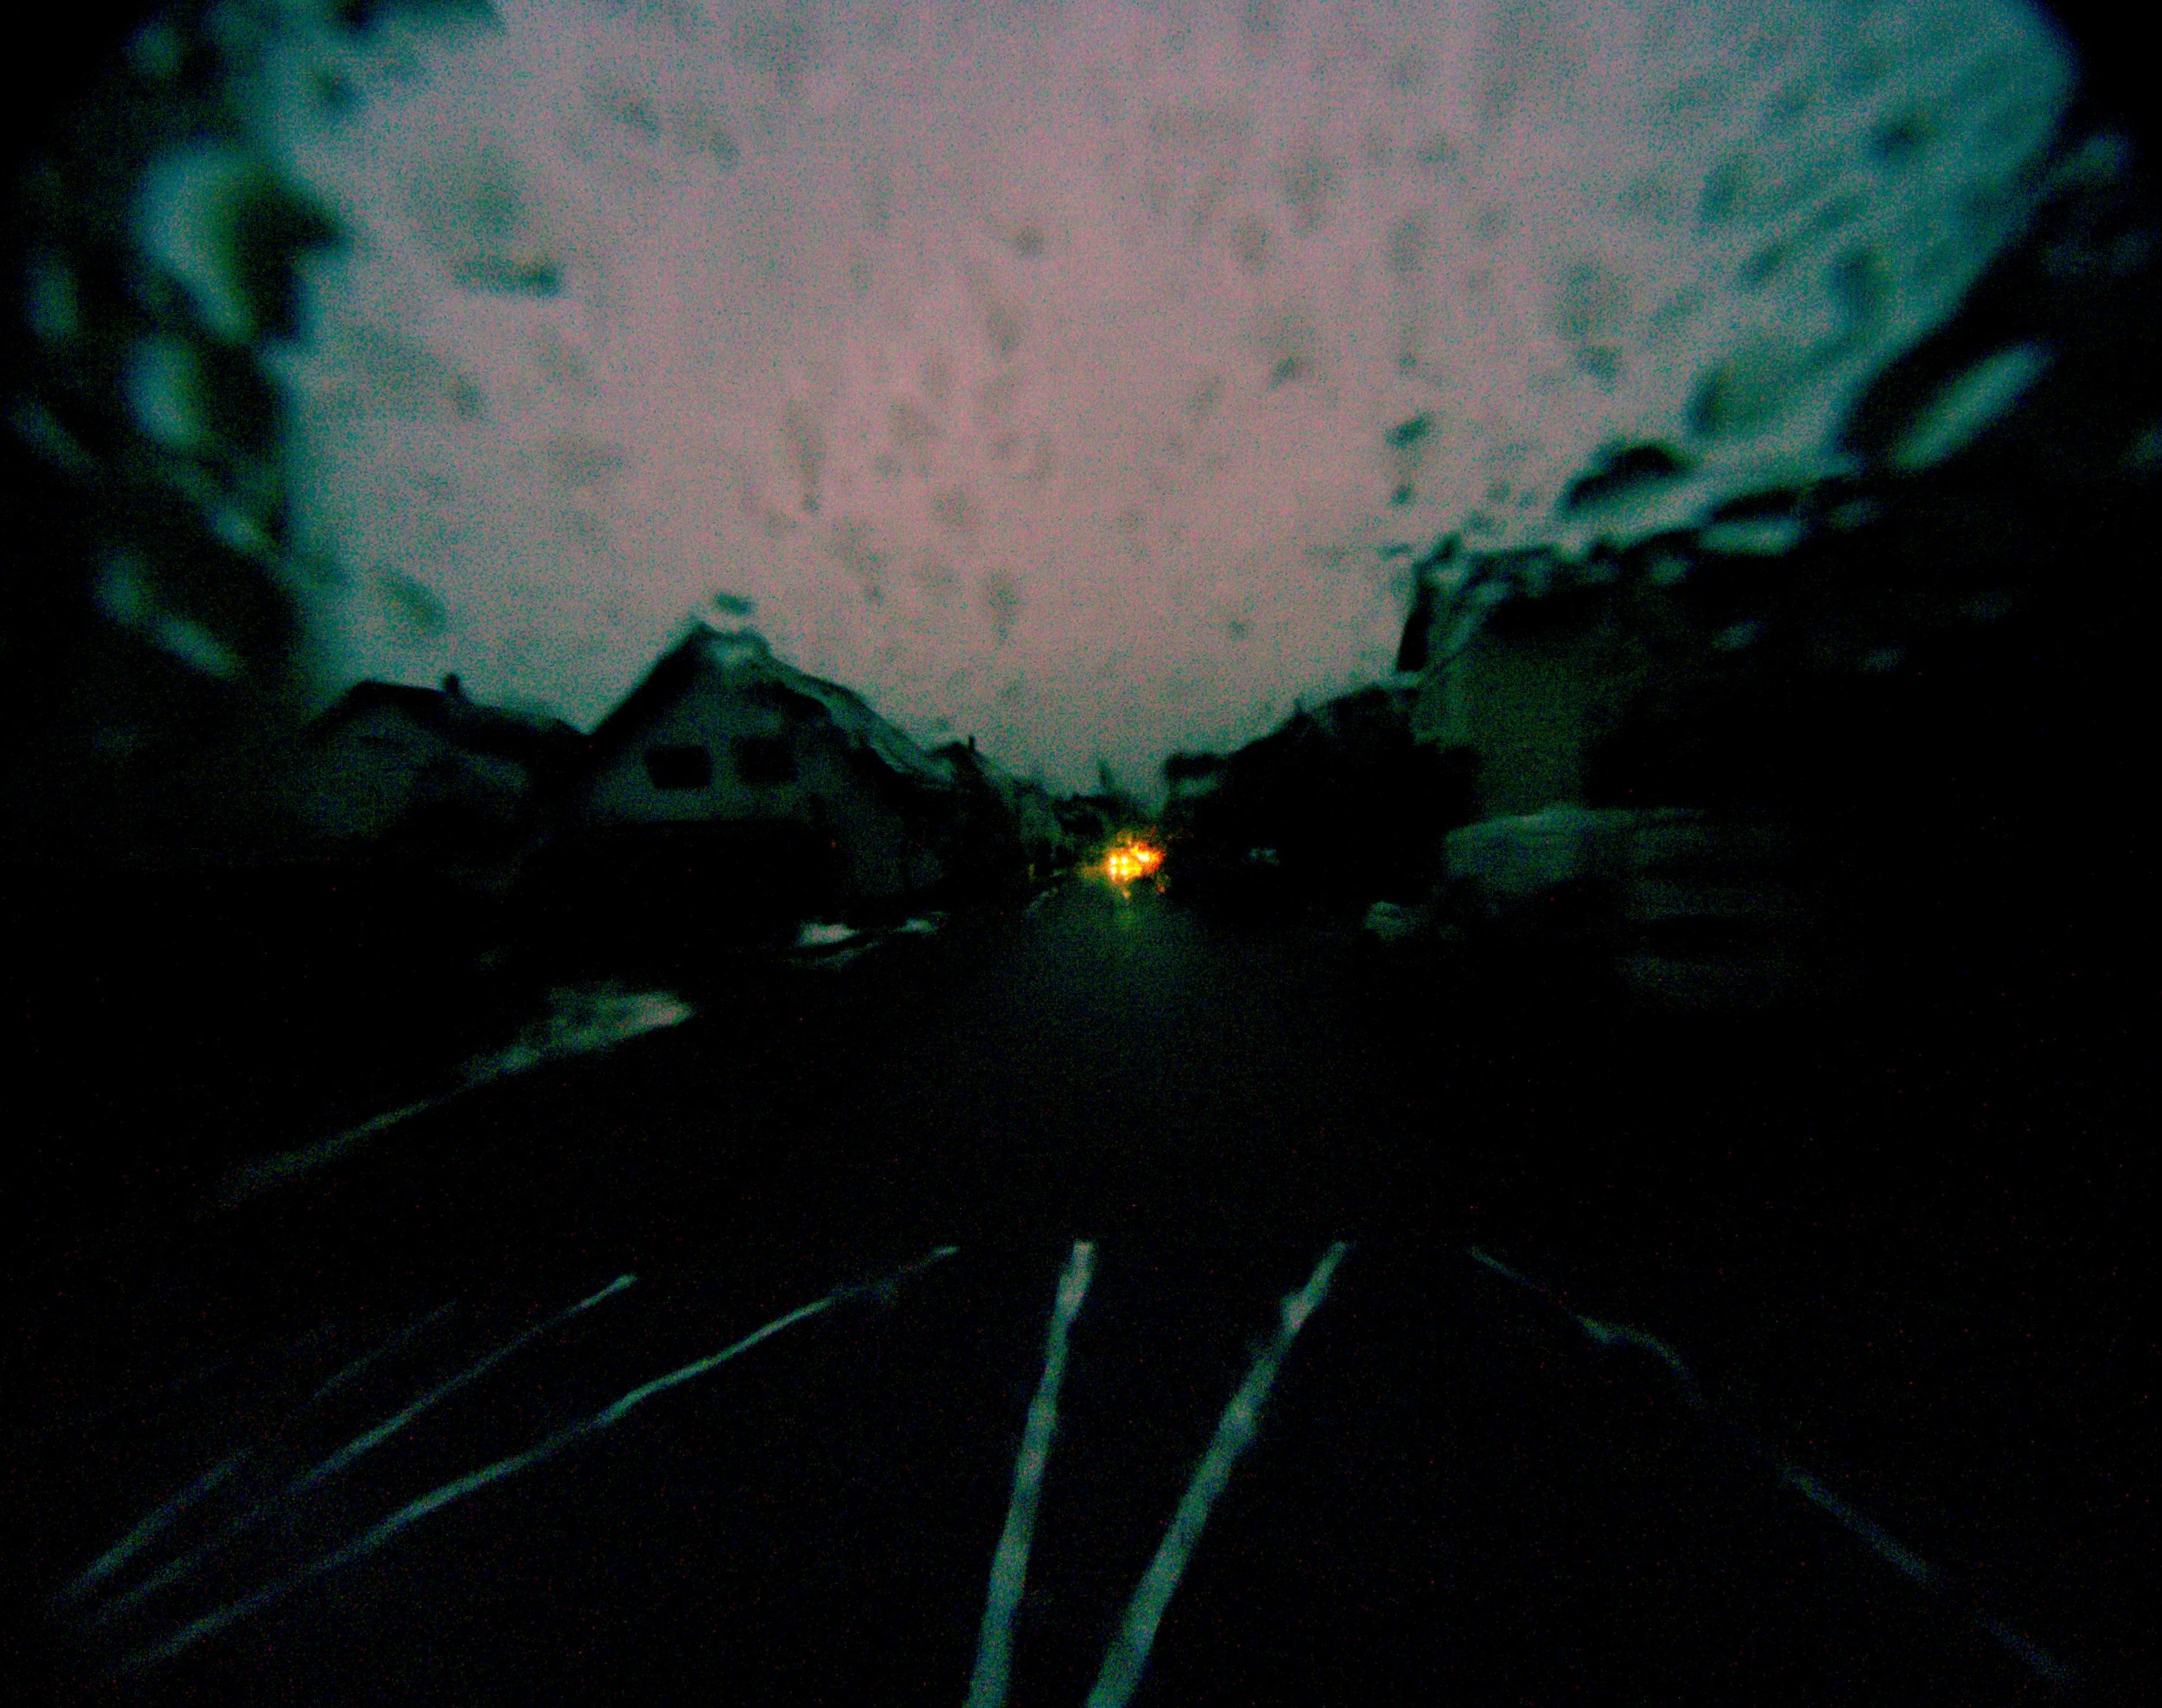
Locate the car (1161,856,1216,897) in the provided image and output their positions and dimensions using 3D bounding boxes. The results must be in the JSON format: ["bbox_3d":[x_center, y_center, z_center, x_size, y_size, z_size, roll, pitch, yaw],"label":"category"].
[{"bbox_3d":[4.423,0.886,31.770,1.767,1.543,4.000,-1,0,1],"label":"car"}]

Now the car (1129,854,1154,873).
[{"bbox_3d":[5.301,0.812,66.787,1.721,1.616,3.730,-2,1,-2],"label":"car"}]

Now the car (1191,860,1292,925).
[{"bbox_3d":[4.070,0.917,19.892,1.829,1.457,4.000,-1,0,0],"label":"car"}]

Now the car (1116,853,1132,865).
[{"bbox_3d":[5.991,0.724,105.844,1.755,1.487,4.252,-2,1,10],"label":"car"}]

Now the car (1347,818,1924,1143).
[{"bbox_3d":[3.821,0.714,6.305,1.775,1.782,4.128,-1,0,0],"label":"car"}]

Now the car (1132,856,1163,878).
[{"bbox_3d":[4.708,0.909,54.271,1.721,1.404,3.730,-2,1,-2],"label":"car"}]
